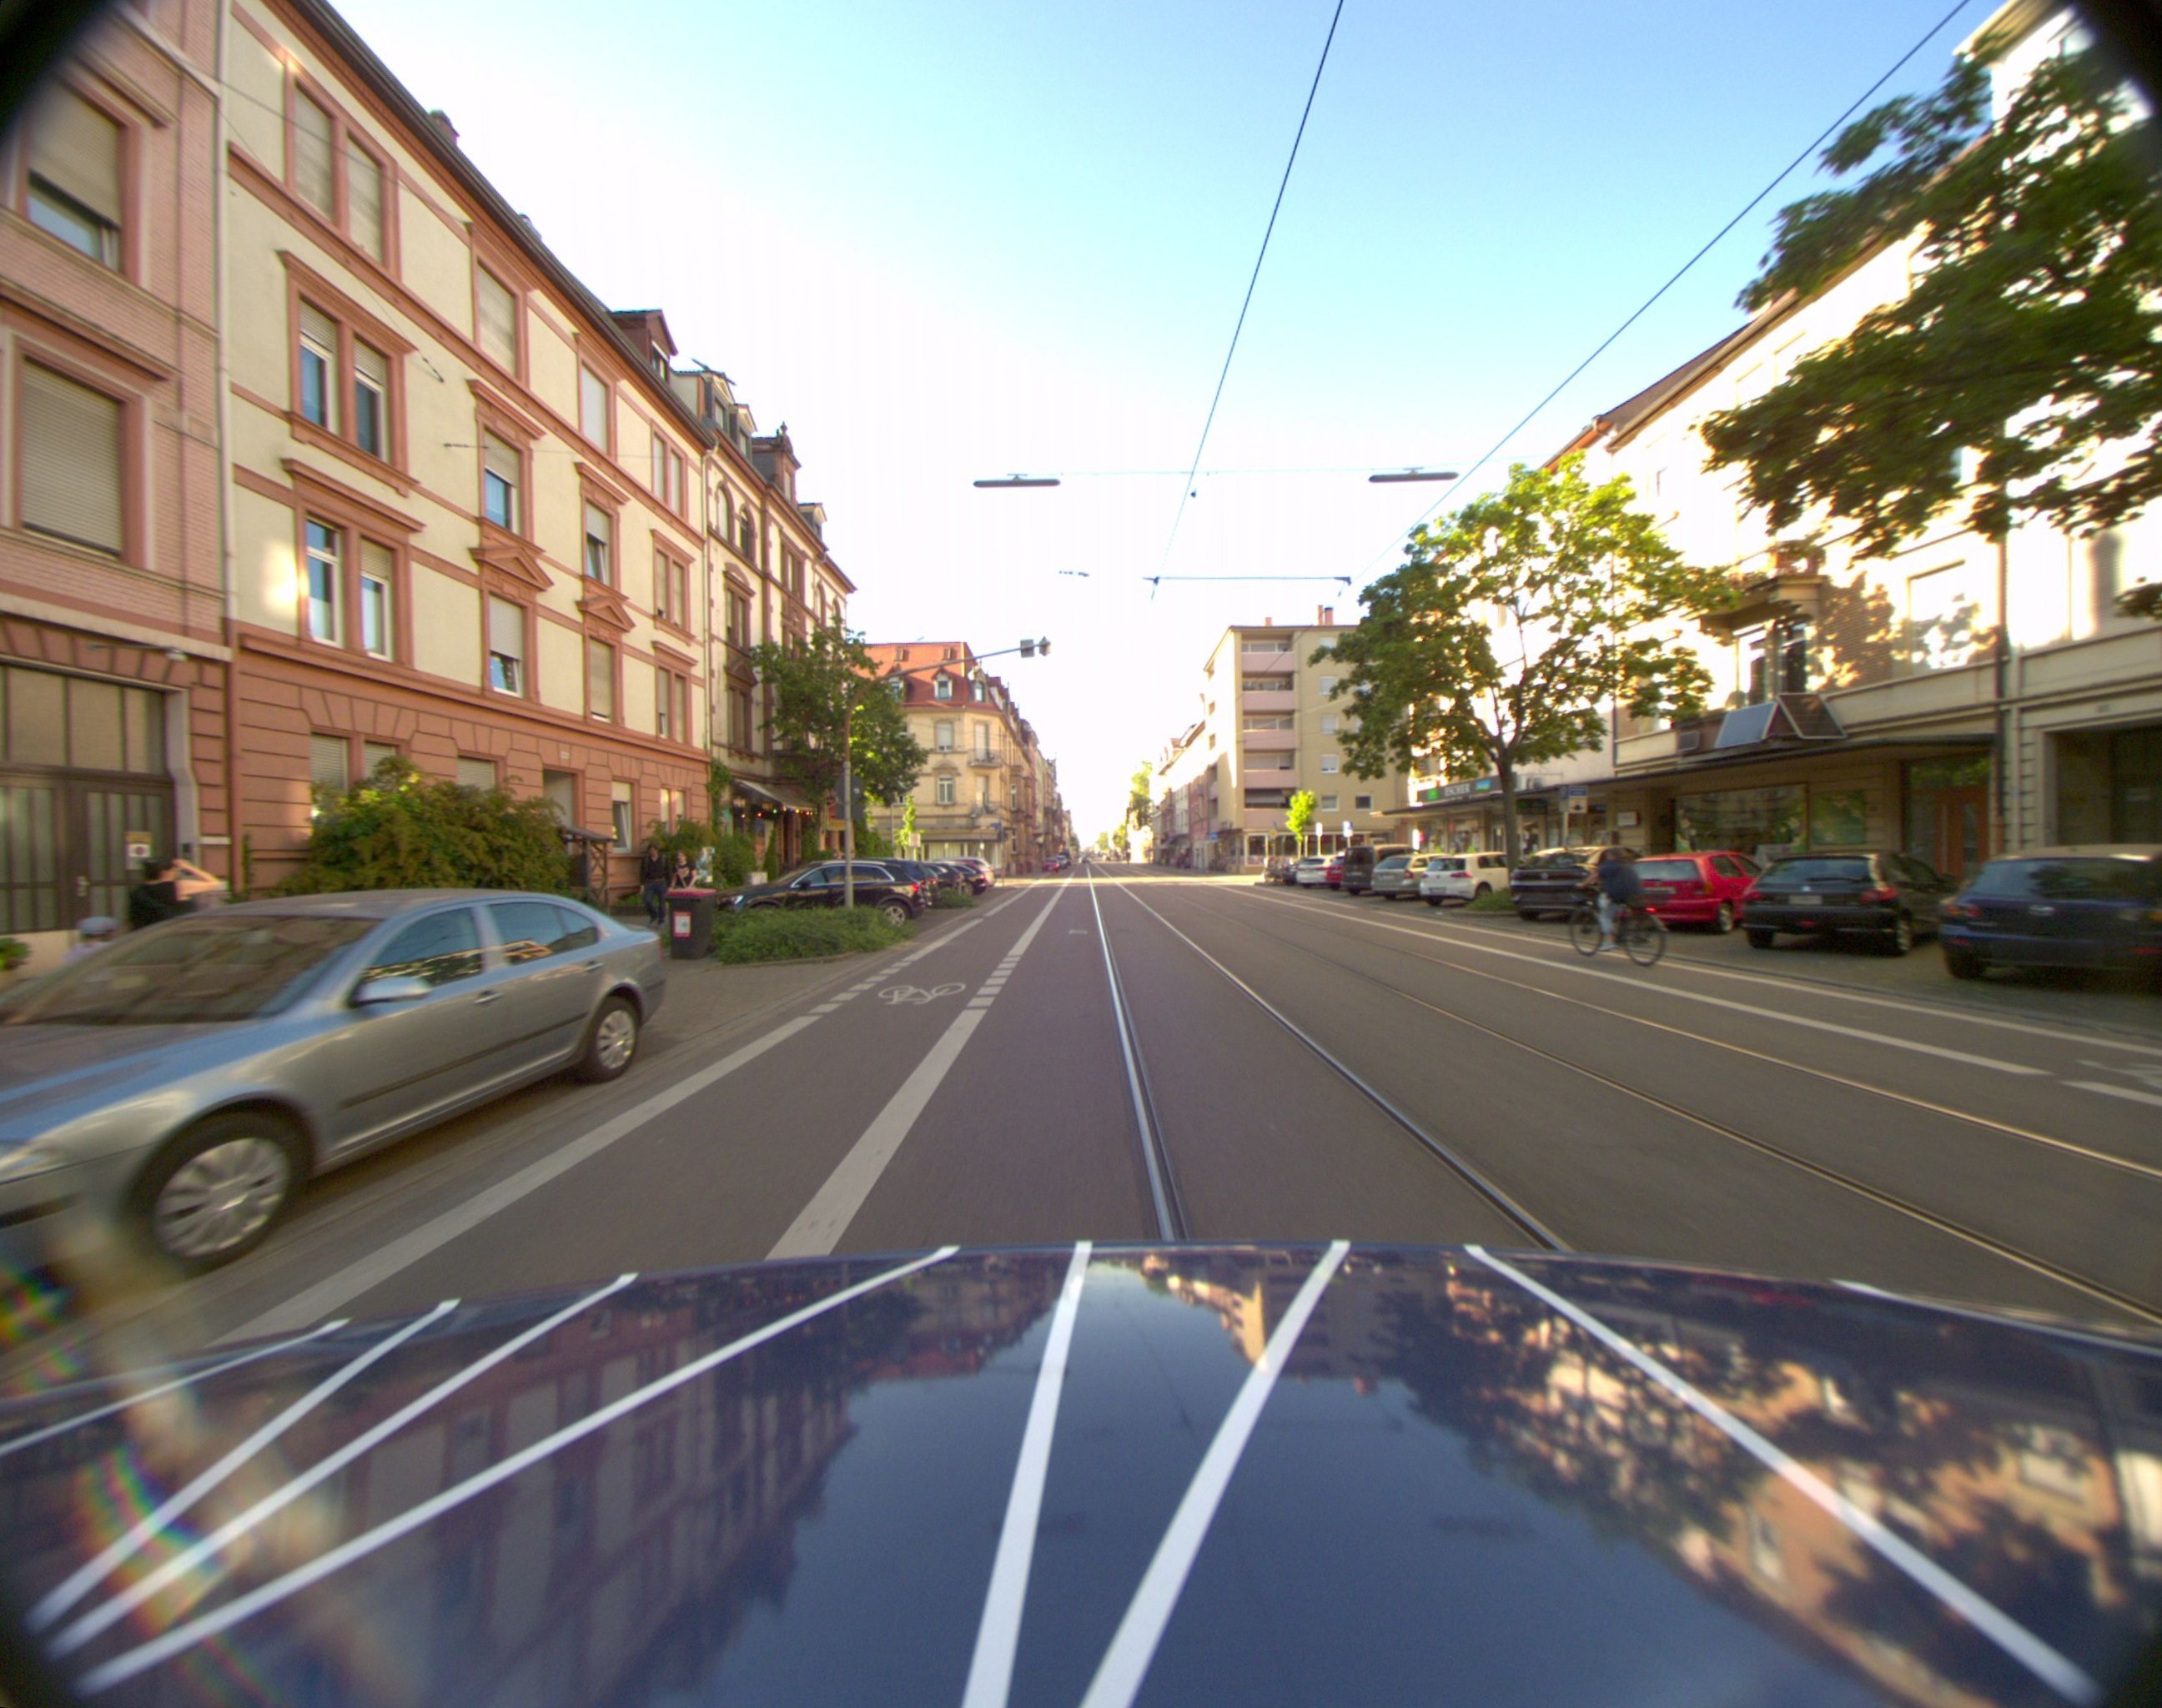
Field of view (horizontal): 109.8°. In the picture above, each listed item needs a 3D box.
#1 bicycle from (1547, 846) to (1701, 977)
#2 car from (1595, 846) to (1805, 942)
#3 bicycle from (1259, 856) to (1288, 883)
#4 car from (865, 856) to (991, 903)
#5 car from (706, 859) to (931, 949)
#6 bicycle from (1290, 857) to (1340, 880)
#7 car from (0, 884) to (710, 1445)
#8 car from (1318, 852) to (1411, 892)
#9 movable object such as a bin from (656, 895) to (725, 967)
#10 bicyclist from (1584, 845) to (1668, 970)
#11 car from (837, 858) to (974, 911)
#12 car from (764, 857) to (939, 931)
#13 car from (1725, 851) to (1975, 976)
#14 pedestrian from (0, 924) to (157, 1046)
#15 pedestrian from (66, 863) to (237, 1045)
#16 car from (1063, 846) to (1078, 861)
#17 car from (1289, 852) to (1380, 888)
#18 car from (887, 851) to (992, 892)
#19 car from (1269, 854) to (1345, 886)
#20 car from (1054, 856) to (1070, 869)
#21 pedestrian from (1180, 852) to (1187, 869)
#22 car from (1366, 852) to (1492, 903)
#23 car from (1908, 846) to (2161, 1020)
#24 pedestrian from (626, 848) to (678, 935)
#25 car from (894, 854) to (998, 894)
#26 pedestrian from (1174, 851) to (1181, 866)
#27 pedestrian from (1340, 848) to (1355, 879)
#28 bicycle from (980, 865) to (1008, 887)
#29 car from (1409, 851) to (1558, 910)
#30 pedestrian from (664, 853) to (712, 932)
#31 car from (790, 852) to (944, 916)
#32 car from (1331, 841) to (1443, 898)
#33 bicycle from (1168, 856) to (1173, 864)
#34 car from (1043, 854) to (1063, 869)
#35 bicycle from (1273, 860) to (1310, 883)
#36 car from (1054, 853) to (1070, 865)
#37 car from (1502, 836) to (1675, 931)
[{"bbox_3d":[7.601,0.726,10.776,0.682,1.669,2.096,-2,1,1],"label":"bicycle"},{"bbox_3d":[11.784,0.659,14.423,4.006,1.480,1.863,-2,1,-32],"label":"car"},{"bbox_3d":[9.767,0.792,38.589,0.683,1.311,2.435,-2,-2,-3],"label":"bicycle"},{"bbox_3d":[-6.007,0.933,29.775,4.454,1.587,2.084,-2,1,-24],"label":"car"},{"bbox_3d":[-5.651,0.978,16.500,4.322,1.587,1.978,-2,1,-24],"label":"car"},{"bbox_3d":[12.372,0.776,40.166,2.429,1.102,0.685,-3,-2,41],"label":"bicycle"},{"bbox_3d":[-4.376,1.114,4.487,1.878,1.587,4.719,-2,1,2],"label":"car"},{"bbox_3d":[11.502,0.698,30.817,3.476,1.464,1.645,-1,0,-28],"label":"car"},{"bbox_3d":[-5.986,1.165,11.683,0.606,1.021,0.806,-1,1,1],"label":"movable object such as a bin"},{"bbox_3d":[7.587,0.715,10.600,0.636,1.672,0.726,-2,1,1],"label":"bicyclist"},{"bbox_3d":[-6.190,1.023,26.715,4.337,1.587,2.041,-2,1,-24],"label":"car"},{"bbox_3d":[-5.885,0.949,19.445,4.004,1.587,2.083,-2,1,-24],"label":"car"},{"bbox_3d":[11.712,0.761,11.521,4.006,1.480,1.802,-2,1,-32],"label":"car"},{"bbox_3d":[-9.216,1.175,6.951,0.713,0.975,0.654,2,1,0],"label":"pedestrian"},{"bbox_3d":[-8.709,0.903,7.148,0.713,1.598,0.654,-2,1,0],"label":"pedestrian"},{"bbox_3d":[-1.852,-0.053,132.744,2.128,2.478,5.856,-2,1,2],"label":"car"},{"bbox_3d":[11.220,0.662,33.564,3.798,1.392,1.750,-2,1,-32],"label":"car"},{"bbox_3d":[-6.041,0.704,32.422,4.004,1.528,1.915,-2,1,-24],"label":"car"},{"bbox_3d":[10.947,0.751,36.715,3.476,1.330,1.620,-2,1,-33],"label":"car"},{"bbox_3d":[-2.418,1.073,97.477,1.871,1.637,4.399,2,0,-3],"label":"car"},{"bbox_3d":[9.896,0.623,73.585,0.564,1.676,0.616,-2,1,-1],"label":"pedestrian"},{"bbox_3d":[11.430,0.709,24.905,4.025,1.441,1.695,-2,1,-29],"label":"car"},{"bbox_3d":[11.264,0.708,8.441,4.005,1.480,1.802,-2,1,-27],"label":"car"},{"bbox_3d":[-9.029,0.762,16.029,0.519,1.768,0.863,-2,1,1],"label":"pedestrian"},{"bbox_3d":[-6.224,0.879,34.978,4.370,1.587,1.850,-2,1,-24],"label":"car"},{"bbox_3d":[10.042,0.491,79.001,0.637,1.540,0.623,-2,1,0],"label":"pedestrian"},{"bbox_3d":[14.512,0.504,41.391,0.570,1.643,0.641,-2,1,1],"label":"pedestrian"},{"bbox_3d":[-4.658,1.158,40.550,1.400,1.120,0.551,-2,1,1],"label":"bicycle"},{"bbox_3d":[11.470,0.700,21.622,3.849,1.421,1.762,-2,1,-25],"label":"car"},{"bbox_3d":[-8.501,0.820,16.472,0.519,1.639,0.863,-2,1,1],"label":"pedestrian"},{"bbox_3d":[-6.229,0.806,22.097,4.004,1.587,1.955,-2,1,-24],"label":"car"},{"bbox_3d":[11.232,0.523,27.834,3.828,1.775,1.793,-4,2,-30],"label":"car"},{"bbox_3d":[12.159,0.859,103.462,0.425,1.053,2.329,-2,1,0],"label":"bicycle"},{"bbox_3d":[-2.904,0.755,80.349,1.870,1.474,4.400,2,1,0],"label":"car"},{"bbox_3d":[10.963,0.912,39.558,0.685,1.116,1.883,-1,-2,-30],"label":"bicycle"},{"bbox_3d":[-2.511,0.671,103.655,1.998,1.606,4.785,2,1,0],"label":"car"},{"bbox_3d":[11.319,0.542,16.851,4.375,1.772,1.990,-2,1,-40],"label":"car"}]
